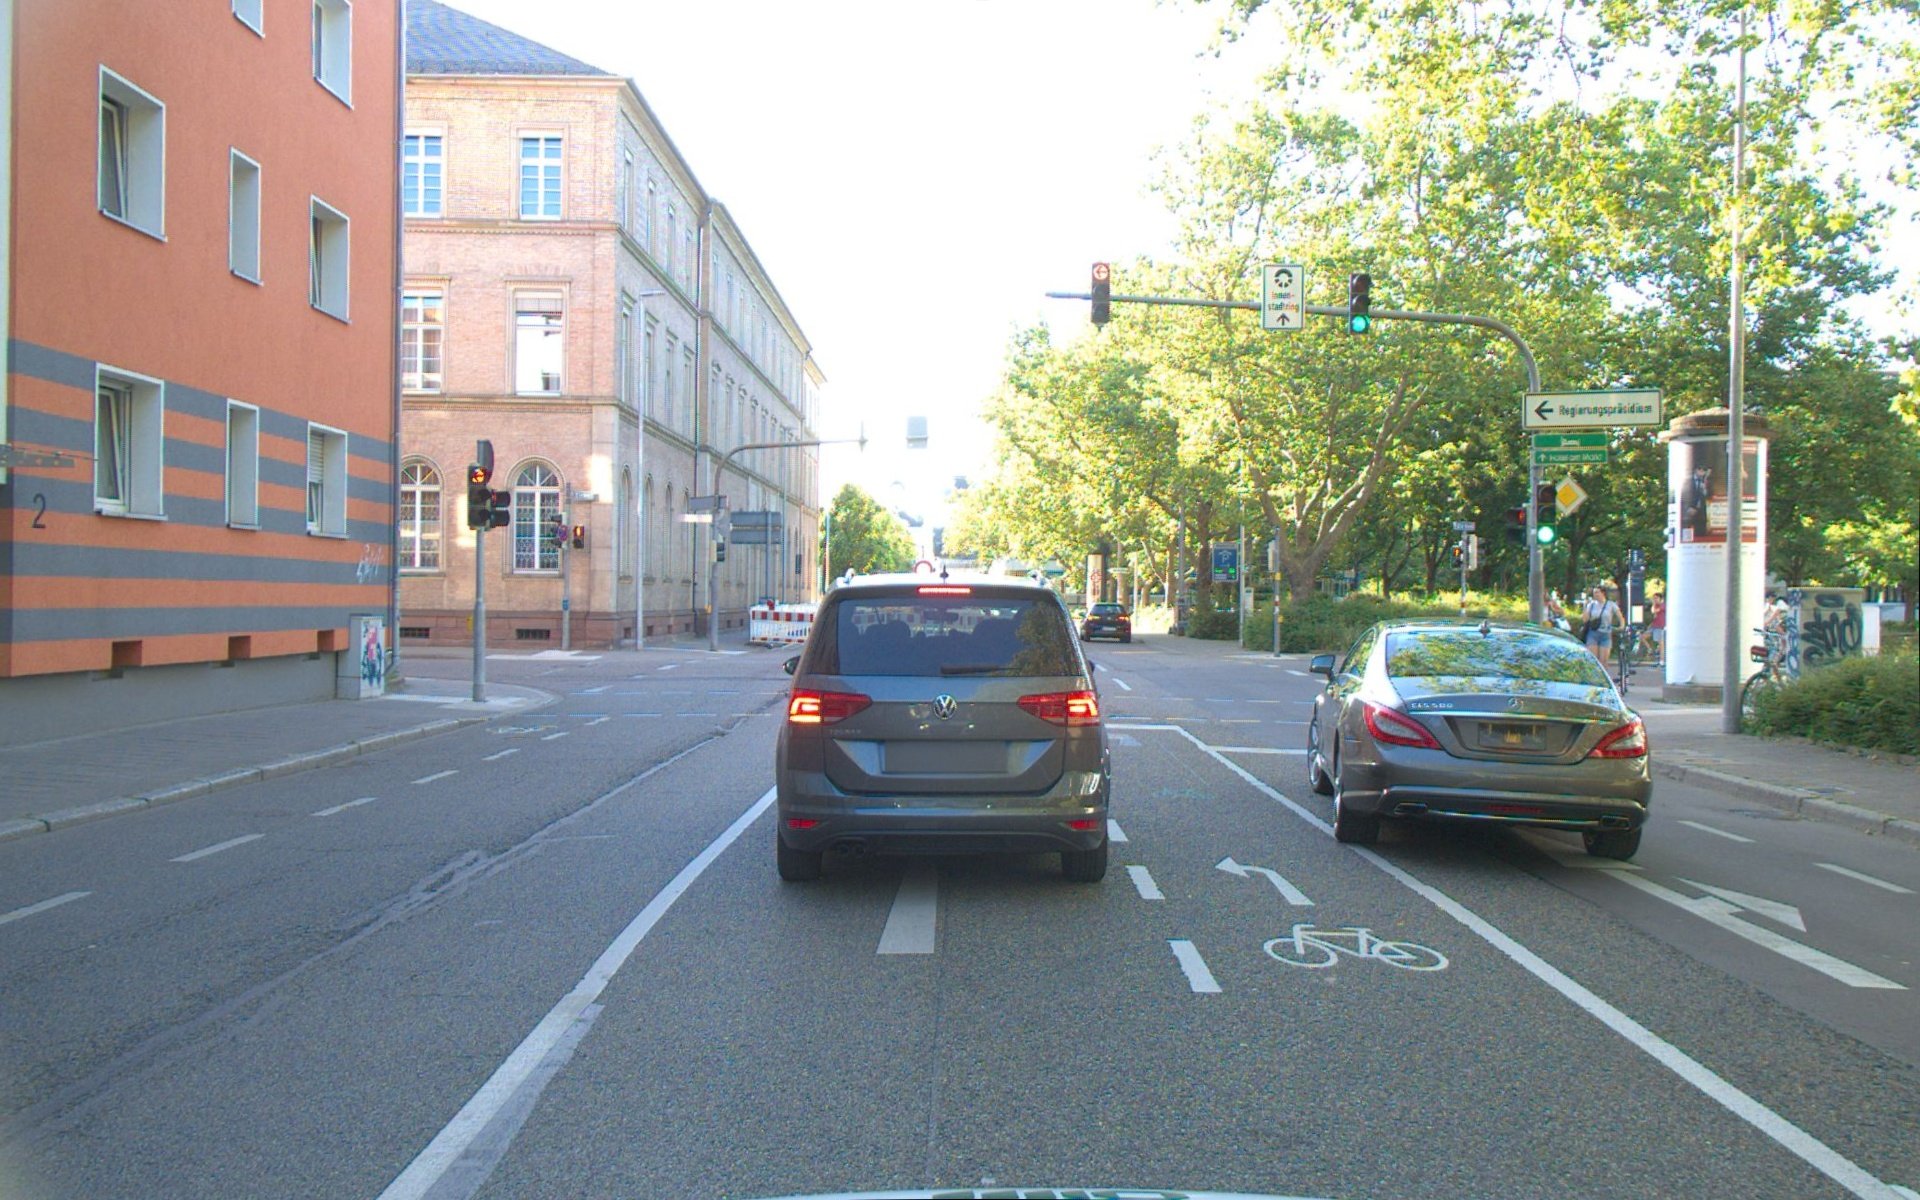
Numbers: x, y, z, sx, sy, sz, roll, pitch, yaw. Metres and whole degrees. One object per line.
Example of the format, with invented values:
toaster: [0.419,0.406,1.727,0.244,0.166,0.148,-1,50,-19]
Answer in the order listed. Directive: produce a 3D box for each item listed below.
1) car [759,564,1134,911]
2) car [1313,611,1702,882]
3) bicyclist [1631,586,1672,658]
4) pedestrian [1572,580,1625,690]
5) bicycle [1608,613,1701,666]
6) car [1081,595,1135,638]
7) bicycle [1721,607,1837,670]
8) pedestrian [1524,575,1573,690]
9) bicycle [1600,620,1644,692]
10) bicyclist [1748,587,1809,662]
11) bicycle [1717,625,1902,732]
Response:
car: [-0.005,0.655,9.853,1.772,1.640,4.001,0,0,2]
car: [3.529,0.823,11.499,1.804,1.454,4.521,1,0,9]
bicyclist: [16.775,0.524,40.122,0.695,1.727,0.675,1,0,0]
pedestrian: [10.351,0.558,26.841,0.668,1.727,0.971,1,0,15]
bicycle: [16.842,0.953,40.101,1.989,1.242,0.599,1,0,0]
car: [5.500,0.610,61.629,1.655,1.465,3.902,3,0,1]
bicycle: [18.300,0.853,36.996,2.241,1.349,0.660,1,0,1]
pedestrian: [9.665,0.534,27.187,0.717,1.840,0.909,-1,-1,19]
bicycle: [10.720,0.886,26.807,0.513,1.119,1.742,1,0,18]
bicyclist: [18.297,0.543,36.986,0.944,1.643,0.870,1,0,2]
bicycle: [10.114,0.934,19.725,1.935,1.210,0.528,1,0,-1]
